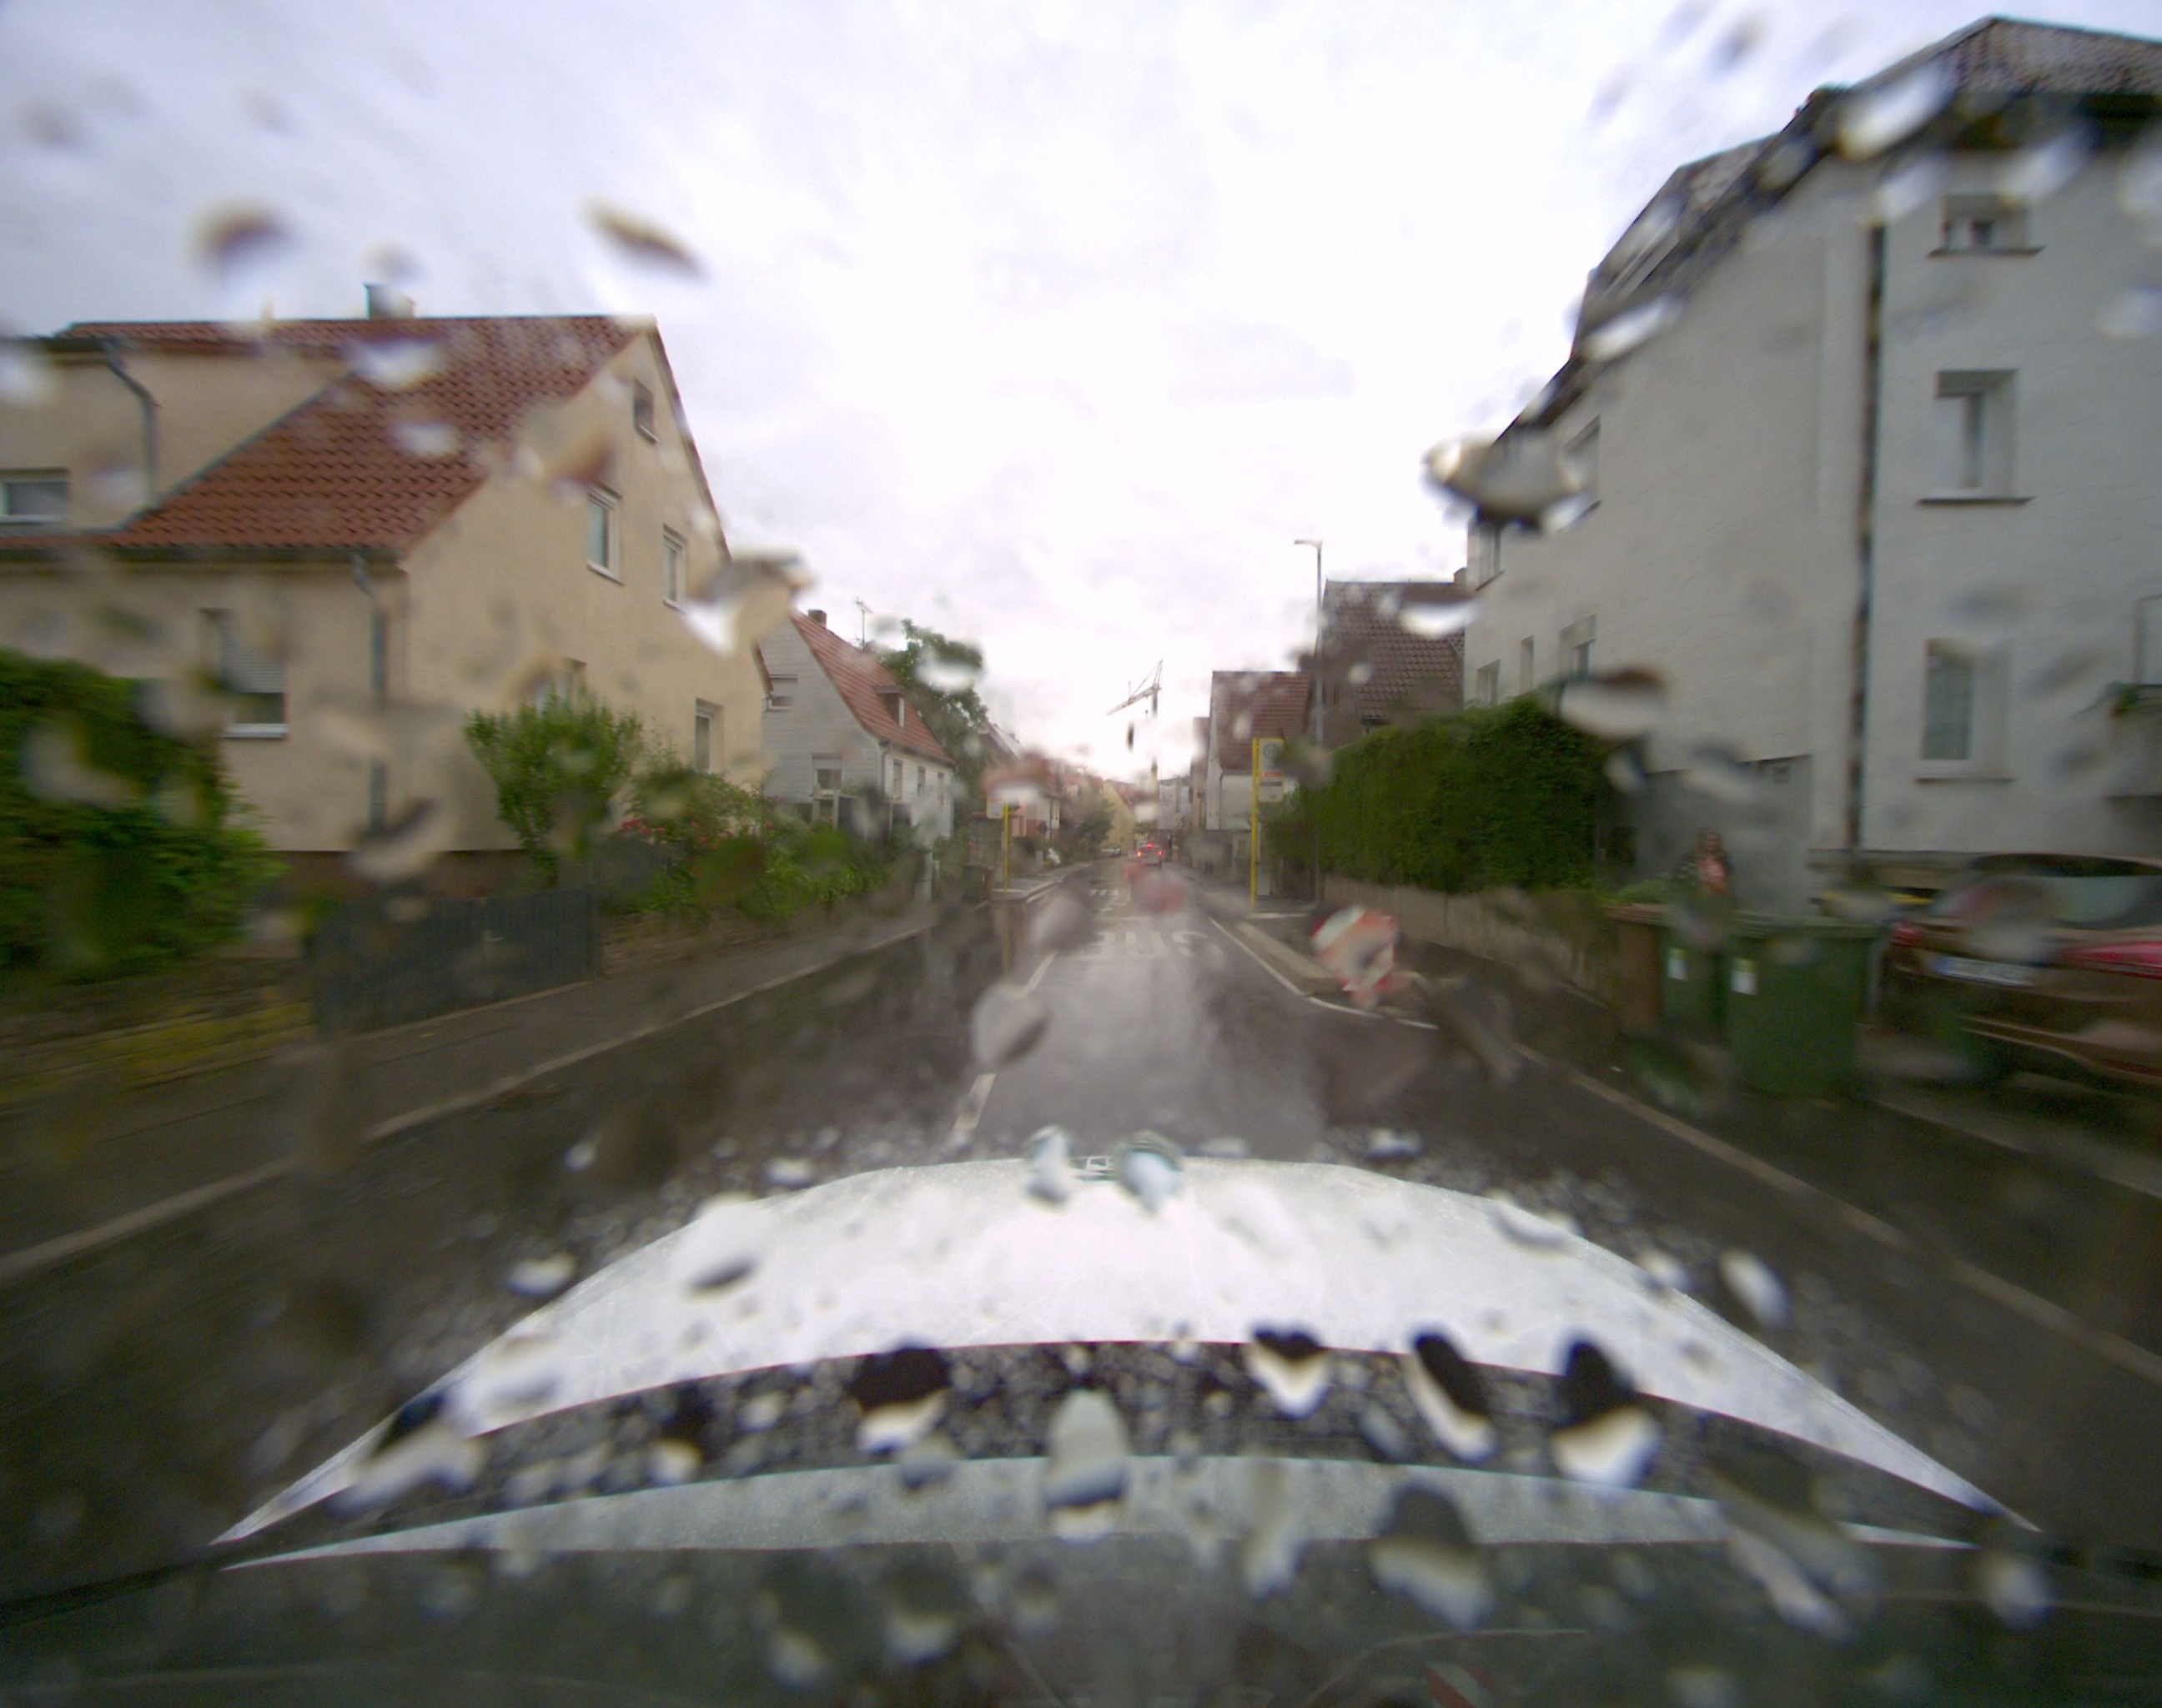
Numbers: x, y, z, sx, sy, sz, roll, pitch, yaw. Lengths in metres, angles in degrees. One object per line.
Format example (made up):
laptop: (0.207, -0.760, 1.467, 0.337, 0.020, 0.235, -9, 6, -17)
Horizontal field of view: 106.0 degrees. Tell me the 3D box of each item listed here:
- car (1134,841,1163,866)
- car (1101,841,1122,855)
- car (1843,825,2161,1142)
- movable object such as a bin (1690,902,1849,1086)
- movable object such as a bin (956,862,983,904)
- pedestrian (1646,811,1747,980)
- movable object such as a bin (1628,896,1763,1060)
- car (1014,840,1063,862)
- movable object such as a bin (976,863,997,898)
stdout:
car: (5.261, -0.060, 63.550, 2.172, 1.869, 4.004, 0, 0, 4)
car: (3.907, -0.835, 103.917, 1.587, 1.677, 3.958, 1, 2, 19)
car: (6.824, 0.577, 4.609, 3.462, 1.510, 1.582, -1, 0, 3)
movable object such as a bin: (4.365, 0.863, 5.195, 0.565, 1.077, 0.538, 0, 0, 1)
movable object such as a bin: (-3.004, 0.770, 22.001, 0.550, 1.082, 0.528, 3, 0, 6)
pedestrian: (6.506, 0.419, 8.638, 0.625, 1.726, 0.619, 0, 0, 4)
movable object such as a bin: (4.352, 0.856, 5.795, 0.565, 1.077, 0.538, 0, 0, 1)
car: (-3.318, -0.245, 63.537, 3.528, 1.529, 1.665, 2, 0, 5)
movable object such as a bin: (-2.703, 0.765, 23.347, 0.466, 0.938, 0.455, 4, 2, 6)
